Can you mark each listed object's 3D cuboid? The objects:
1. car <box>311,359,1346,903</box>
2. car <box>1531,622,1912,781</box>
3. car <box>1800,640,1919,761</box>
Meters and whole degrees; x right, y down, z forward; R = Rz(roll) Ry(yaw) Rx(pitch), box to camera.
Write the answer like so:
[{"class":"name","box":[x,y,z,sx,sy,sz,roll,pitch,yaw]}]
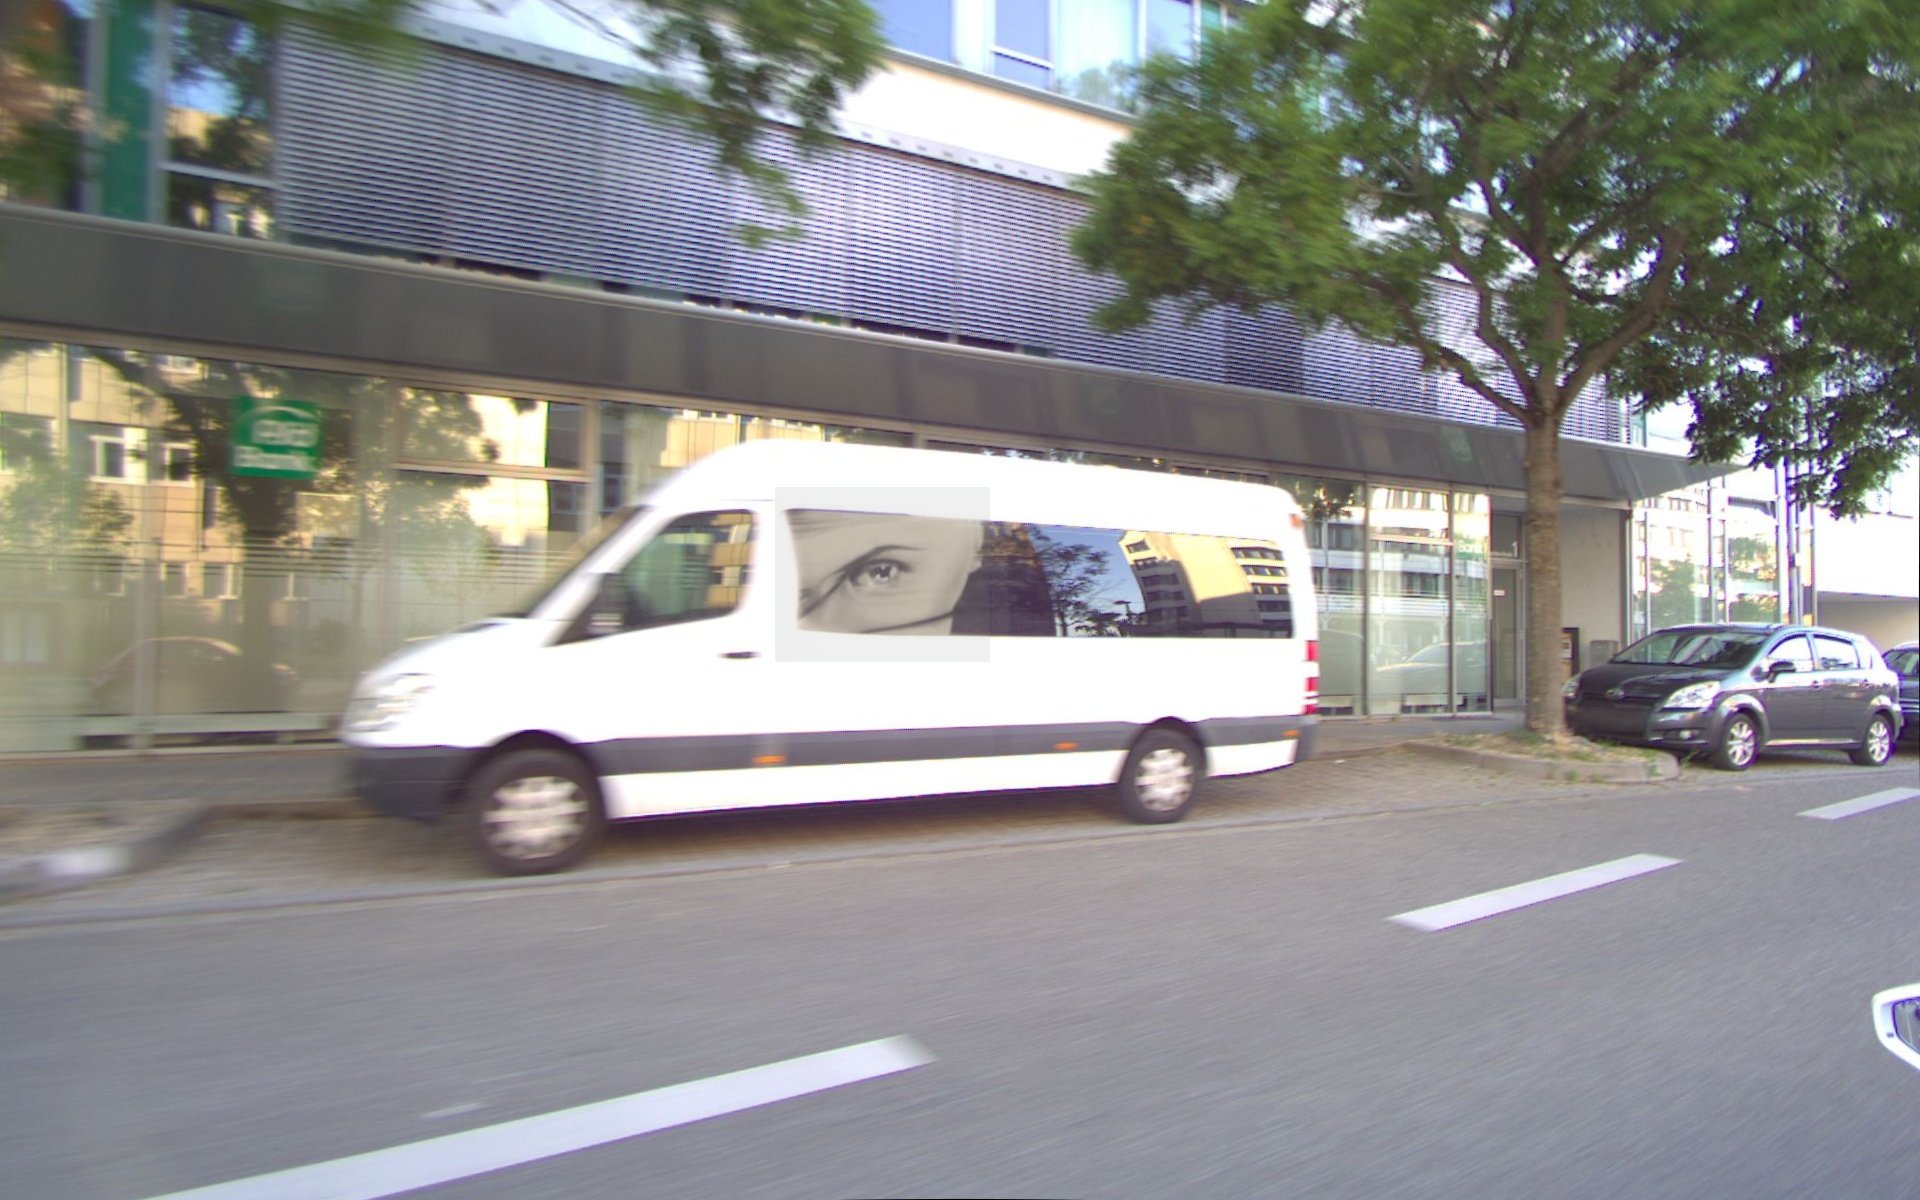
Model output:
[{"class":"car","box":[-0.507,0.248,7.391,6.856,2.699,2.095,1,-2,-25]},{"class":"car","box":[8.995,1.091,11.854,4.209,1.592,1.839,1,-2,-25]},{"class":"car","box":[13.587,1.309,13.804,4.345,1.471,1.707,2,-2,-29]}]
